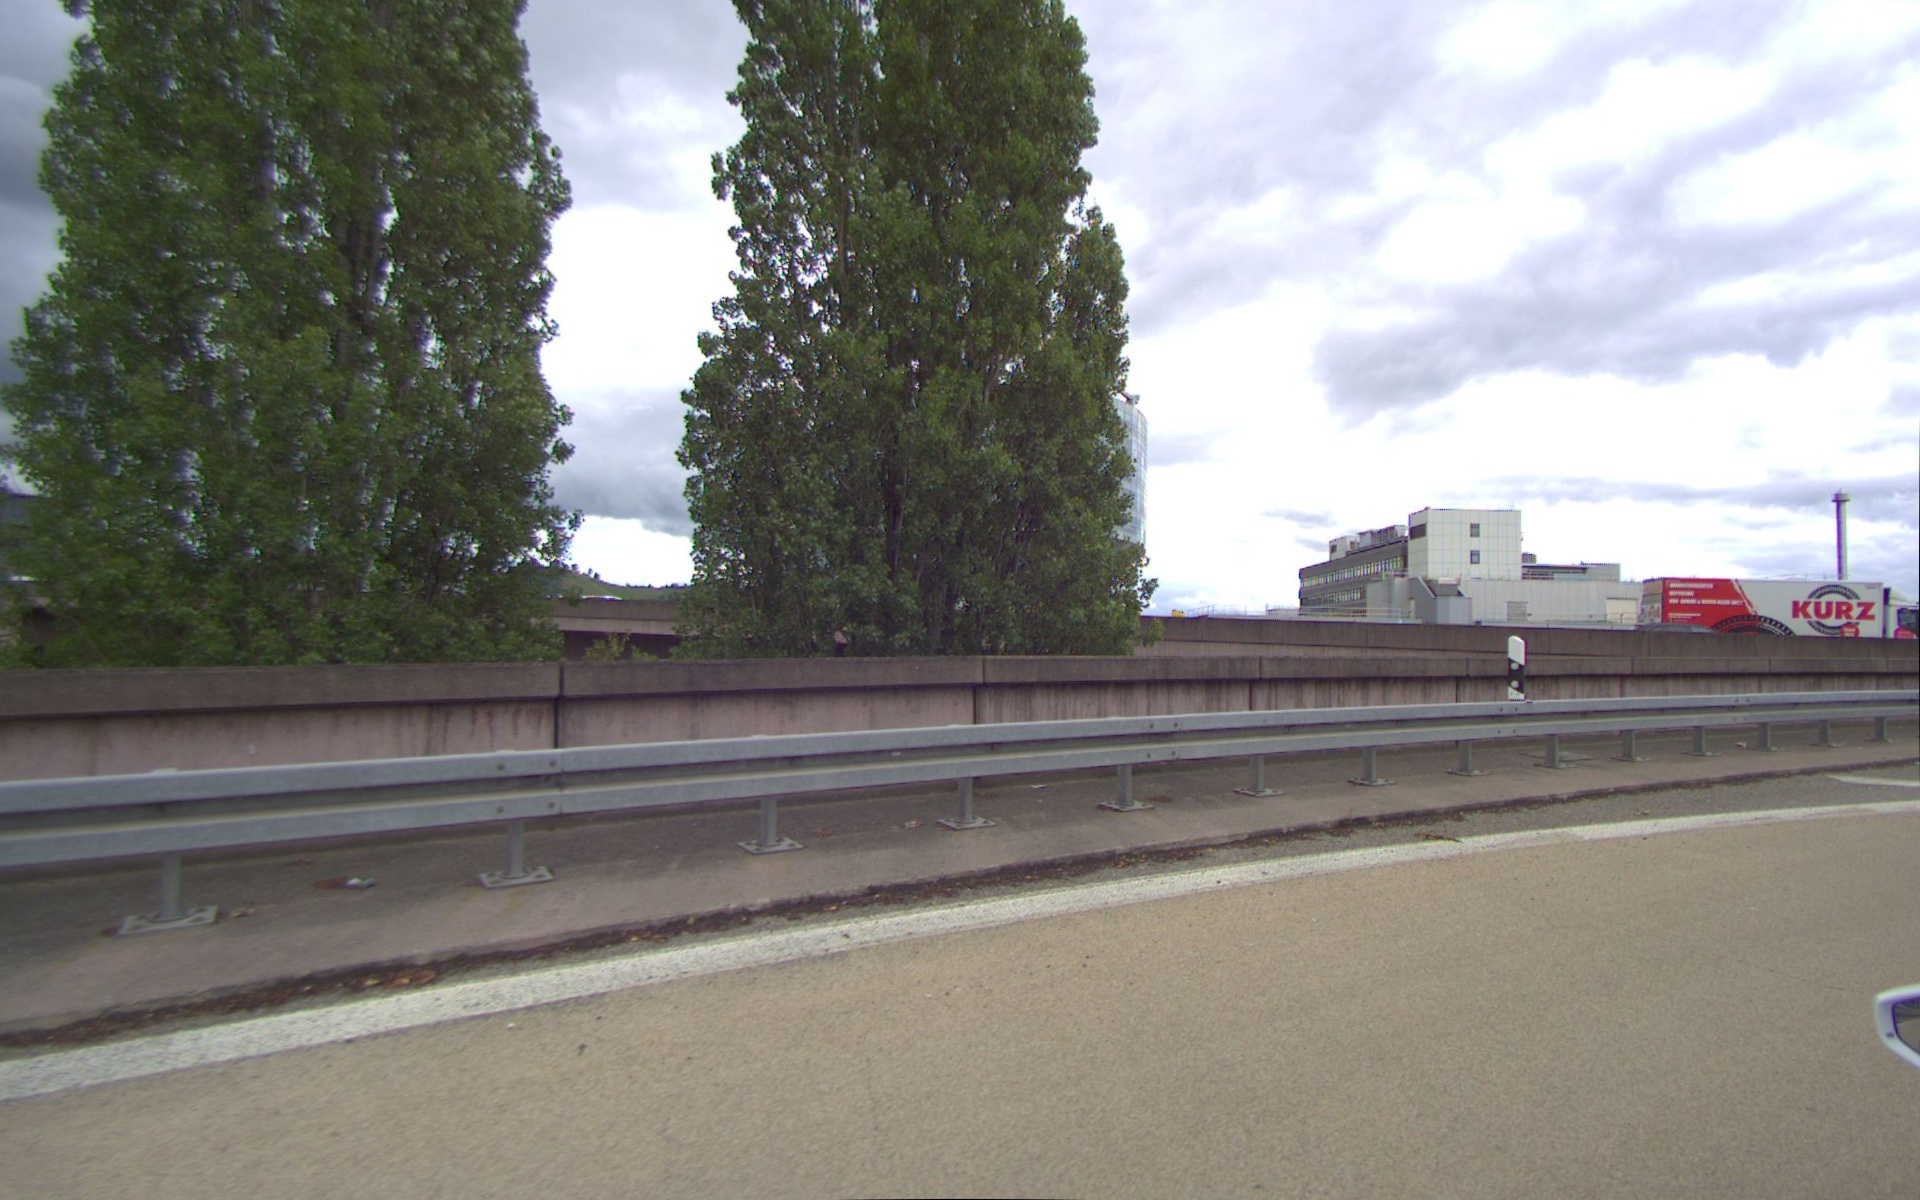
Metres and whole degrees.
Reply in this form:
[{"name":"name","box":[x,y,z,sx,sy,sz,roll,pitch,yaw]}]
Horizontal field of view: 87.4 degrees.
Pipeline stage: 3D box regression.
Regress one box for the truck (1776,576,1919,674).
[{"name":"truck","box":[35.797,1.013,40.064,4.351,3.738,2.701,1,-3,19]}]

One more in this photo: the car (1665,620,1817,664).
[{"name":"car","box":[29.796,1.570,38.465,4.181,1.525,1.853,1,0,19]}]

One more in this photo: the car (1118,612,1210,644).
[{"name":"car","box":[11.429,1.528,56.262,4.797,1.602,1.999,1,0,22]}]

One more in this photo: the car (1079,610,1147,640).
[{"name":"car","box":[8.710,1.408,57.282,3.578,1.539,1.688,1,2,20]}]

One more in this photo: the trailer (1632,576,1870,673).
[{"name":"trailer","box":[32.210,0.978,41.269,7.168,3.738,2.700,1,-3,19]}]

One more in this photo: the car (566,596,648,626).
[{"name":"car","box":[-18.959,0.560,53.891,3.921,1.539,1.788,1,1,20]}]
